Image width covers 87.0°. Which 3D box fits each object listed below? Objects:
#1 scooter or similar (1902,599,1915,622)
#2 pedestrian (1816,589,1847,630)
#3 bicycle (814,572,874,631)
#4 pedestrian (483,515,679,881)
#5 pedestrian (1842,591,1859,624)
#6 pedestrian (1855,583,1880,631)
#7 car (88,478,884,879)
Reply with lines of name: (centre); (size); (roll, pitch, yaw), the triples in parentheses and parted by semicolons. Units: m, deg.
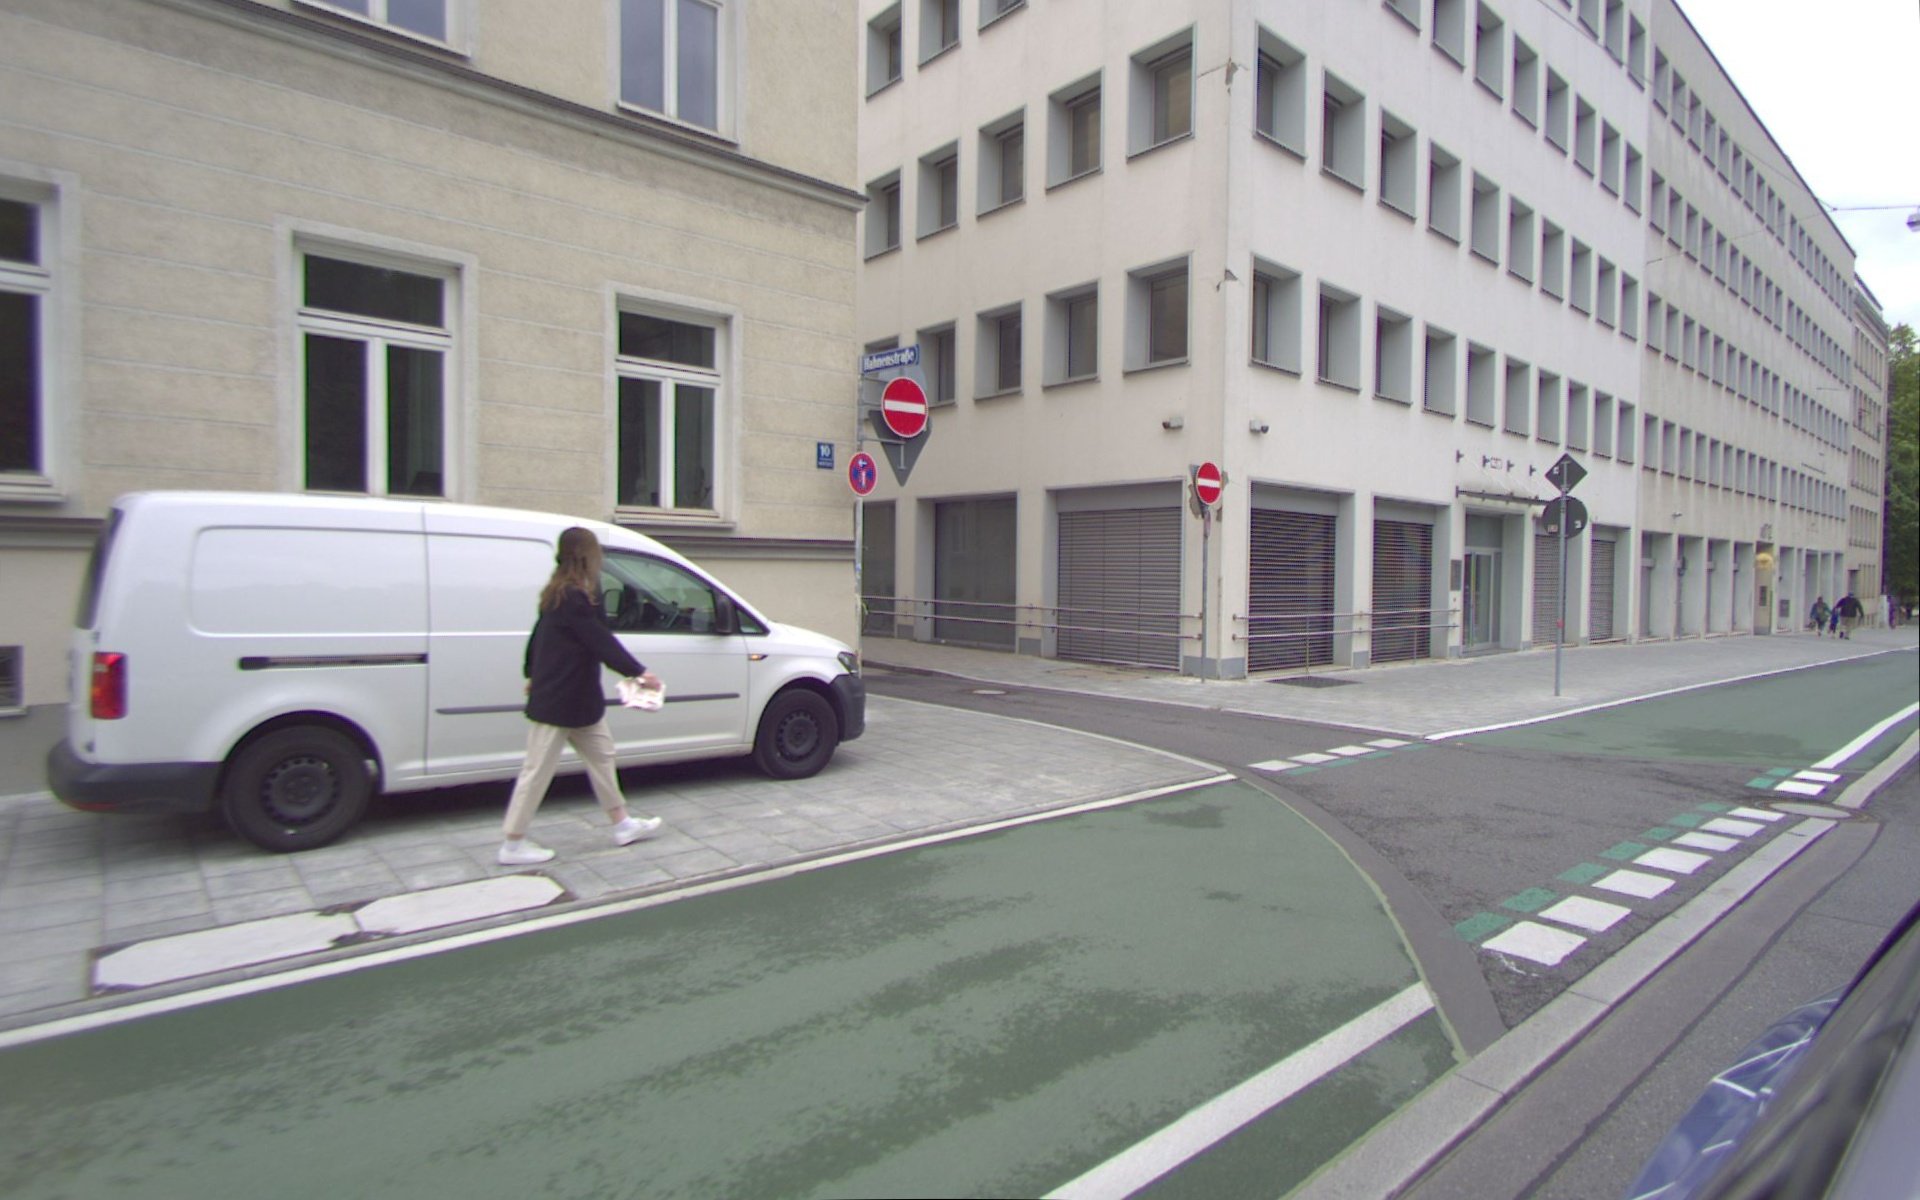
scooter or similar: (56.183, 0.635, 59.947); (1.100, 1.288, 0.387); (-2, 4, -42)
pedestrian: (35.749, 0.380, 41.522); (0.692, 1.638, 0.754); (0, 5, -41)
bicycle: (-2.505, 0.024, 21.694); (0.304, 1.222, 1.772); (0, 1, -42)
pedestrian: (-1.895, 0.427, 5.055); (0.724, 1.656, 0.666); (0, 2, -41)
pedestrian: (35.227, 0.308, 40.028); (0.461, 1.261, 0.368); (0, 5, -41)
pedestrian: (35.552, 0.263, 39.660); (0.591, 1.857, 0.514); (0, 5, -41)
car: (-2.761, 0.291, 6.557); (4.358, 1.771, 1.737); (-1, 3, -41)
